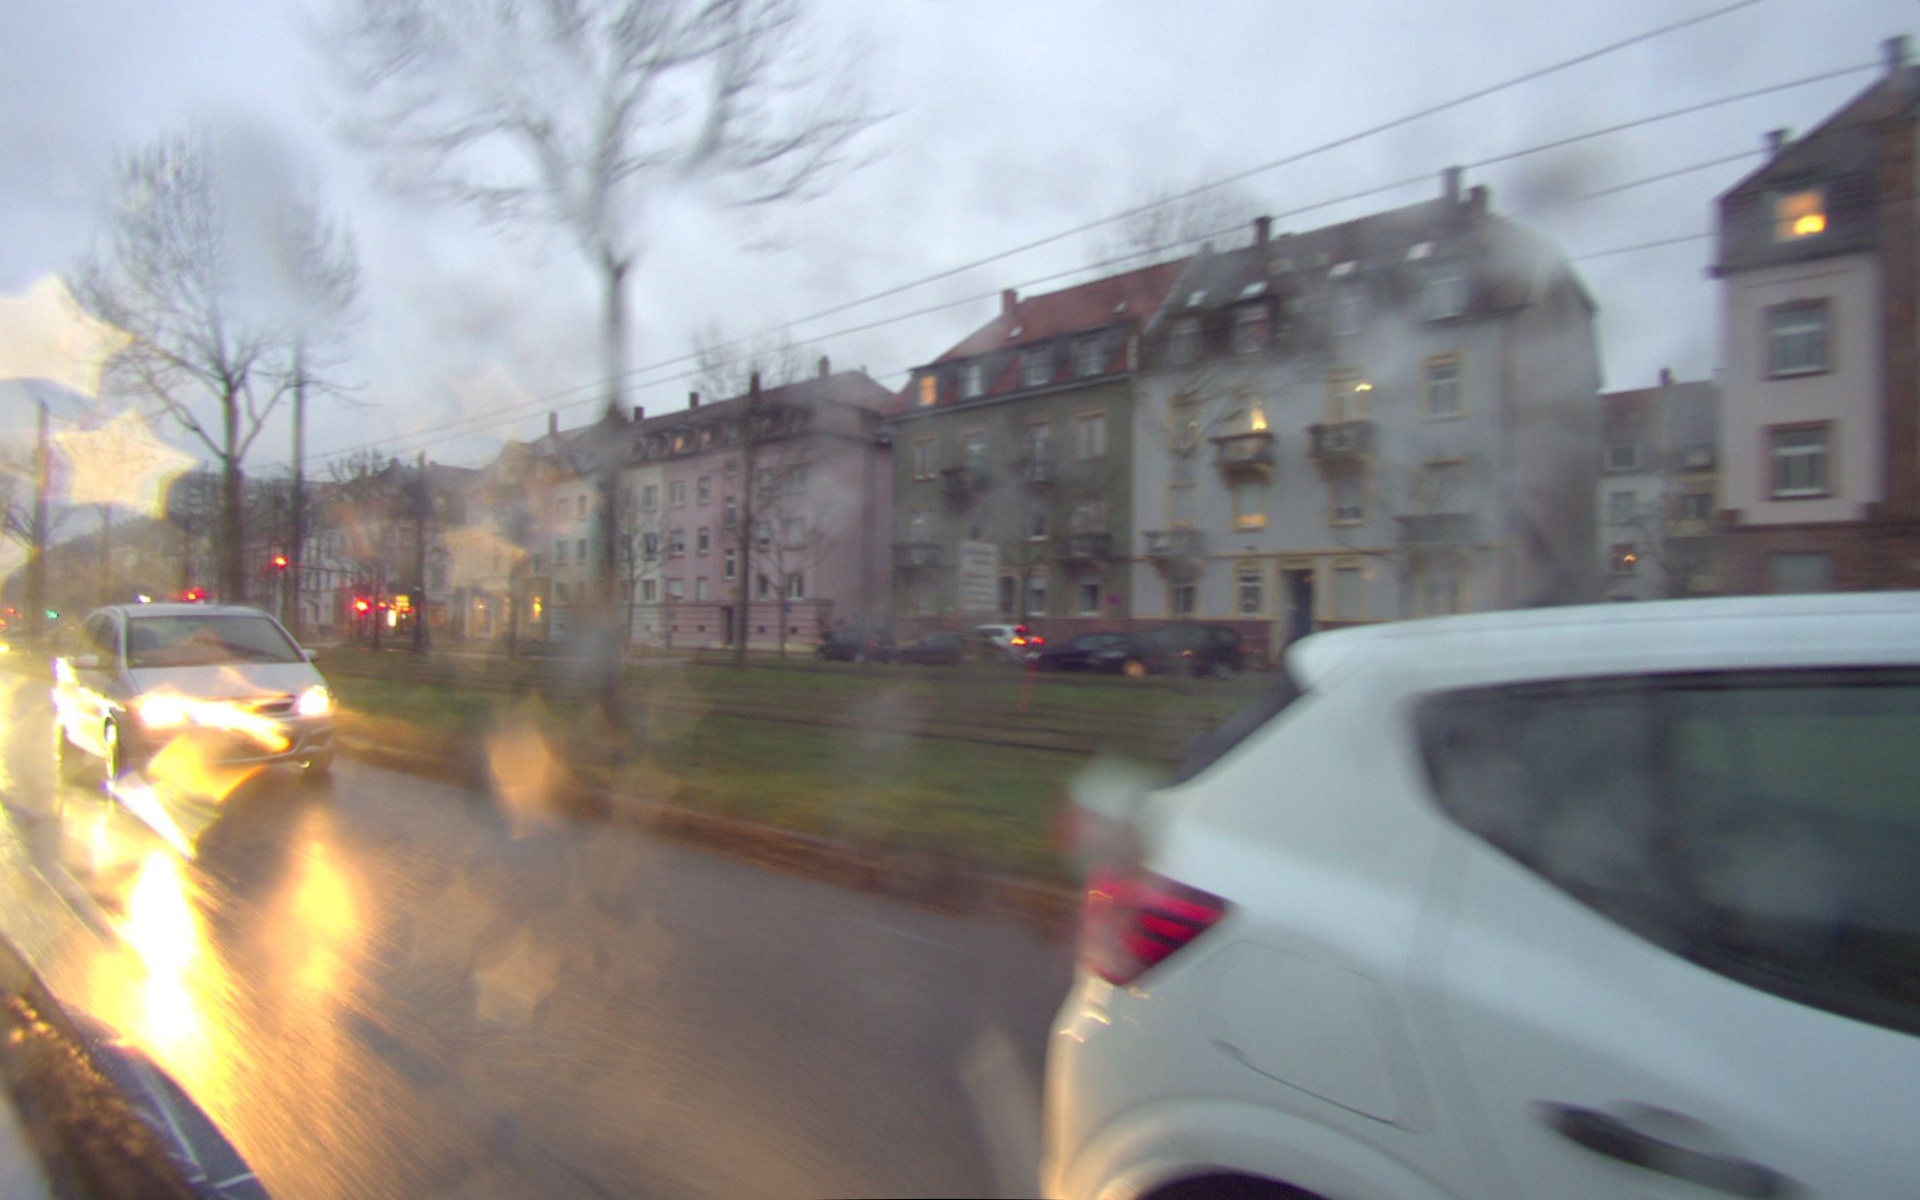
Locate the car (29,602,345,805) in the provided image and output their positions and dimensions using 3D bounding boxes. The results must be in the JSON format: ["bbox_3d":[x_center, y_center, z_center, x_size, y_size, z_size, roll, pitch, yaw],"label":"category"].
[{"bbox_3d":[-7.428,0.804,9.586,3.905,1.531,1.617,-1,0,41],"label":"car"}]

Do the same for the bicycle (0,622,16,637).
[{"bbox_3d":[-60.027,1.819,63.010,0.733,0.905,1.703,0,-3,41],"label":"bicycle"}]

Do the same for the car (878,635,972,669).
[{"bbox_3d":[-1.411,1.981,39.281,3.899,1.177,1.217,-1,0,42],"label":"car"}]

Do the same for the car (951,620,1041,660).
[{"bbox_3d":[1.513,1.637,42.651,3.536,1.563,1.662,-1,0,41],"label":"car"}]

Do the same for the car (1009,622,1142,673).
[{"bbox_3d":[3.715,1.520,32.845,3.888,1.459,1.823,-1,0,-9],"label":"car"}]

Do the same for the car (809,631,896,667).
[{"bbox_3d":[-4.542,2.012,42.449,3.910,1.350,1.449,-1,0,43],"label":"car"}]

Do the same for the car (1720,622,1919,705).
[{"bbox_3d":[17.536,1.236,20.616,3.305,1.428,1.884,-1,1,-24],"label":"car"}]

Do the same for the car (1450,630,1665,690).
[{"bbox_3d":[14.276,1.401,24.305,4.198,1.267,1.837,-1,0,-9],"label":"car"}]

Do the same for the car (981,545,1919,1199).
[{"bbox_3d":[2.057,0.680,0.963,4.002,1.485,1.670,-1,0,44],"label":"car"}]

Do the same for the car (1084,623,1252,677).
[{"bbox_3d":[6.184,1.463,30.246,4.586,1.442,1.698,-1,0,-13],"label":"car"}]
